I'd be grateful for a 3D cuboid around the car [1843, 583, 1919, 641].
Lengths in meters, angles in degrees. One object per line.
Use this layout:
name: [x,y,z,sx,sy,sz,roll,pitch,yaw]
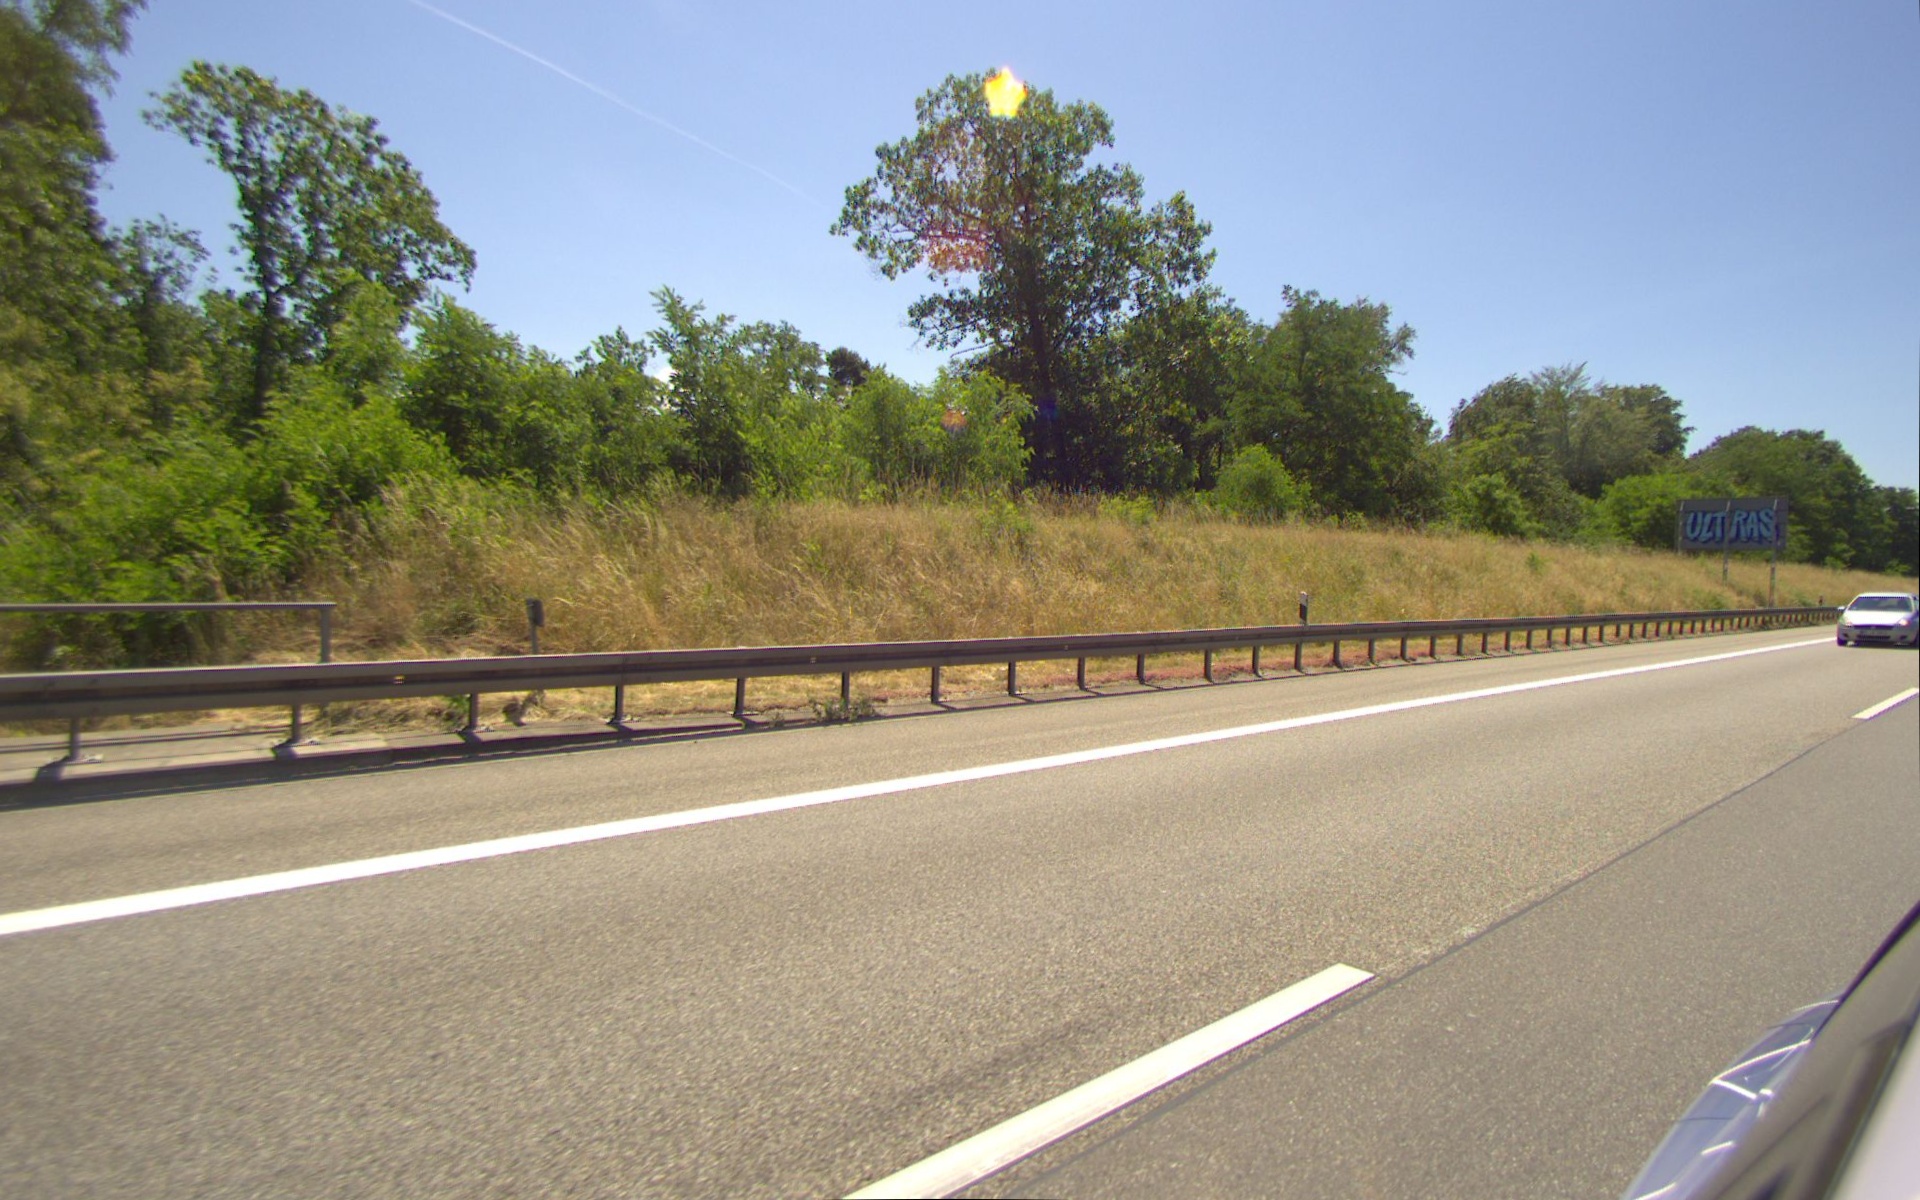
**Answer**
car: [25.891,0.301,27.902,3.910,1.484,1.749,0,1,-40]
